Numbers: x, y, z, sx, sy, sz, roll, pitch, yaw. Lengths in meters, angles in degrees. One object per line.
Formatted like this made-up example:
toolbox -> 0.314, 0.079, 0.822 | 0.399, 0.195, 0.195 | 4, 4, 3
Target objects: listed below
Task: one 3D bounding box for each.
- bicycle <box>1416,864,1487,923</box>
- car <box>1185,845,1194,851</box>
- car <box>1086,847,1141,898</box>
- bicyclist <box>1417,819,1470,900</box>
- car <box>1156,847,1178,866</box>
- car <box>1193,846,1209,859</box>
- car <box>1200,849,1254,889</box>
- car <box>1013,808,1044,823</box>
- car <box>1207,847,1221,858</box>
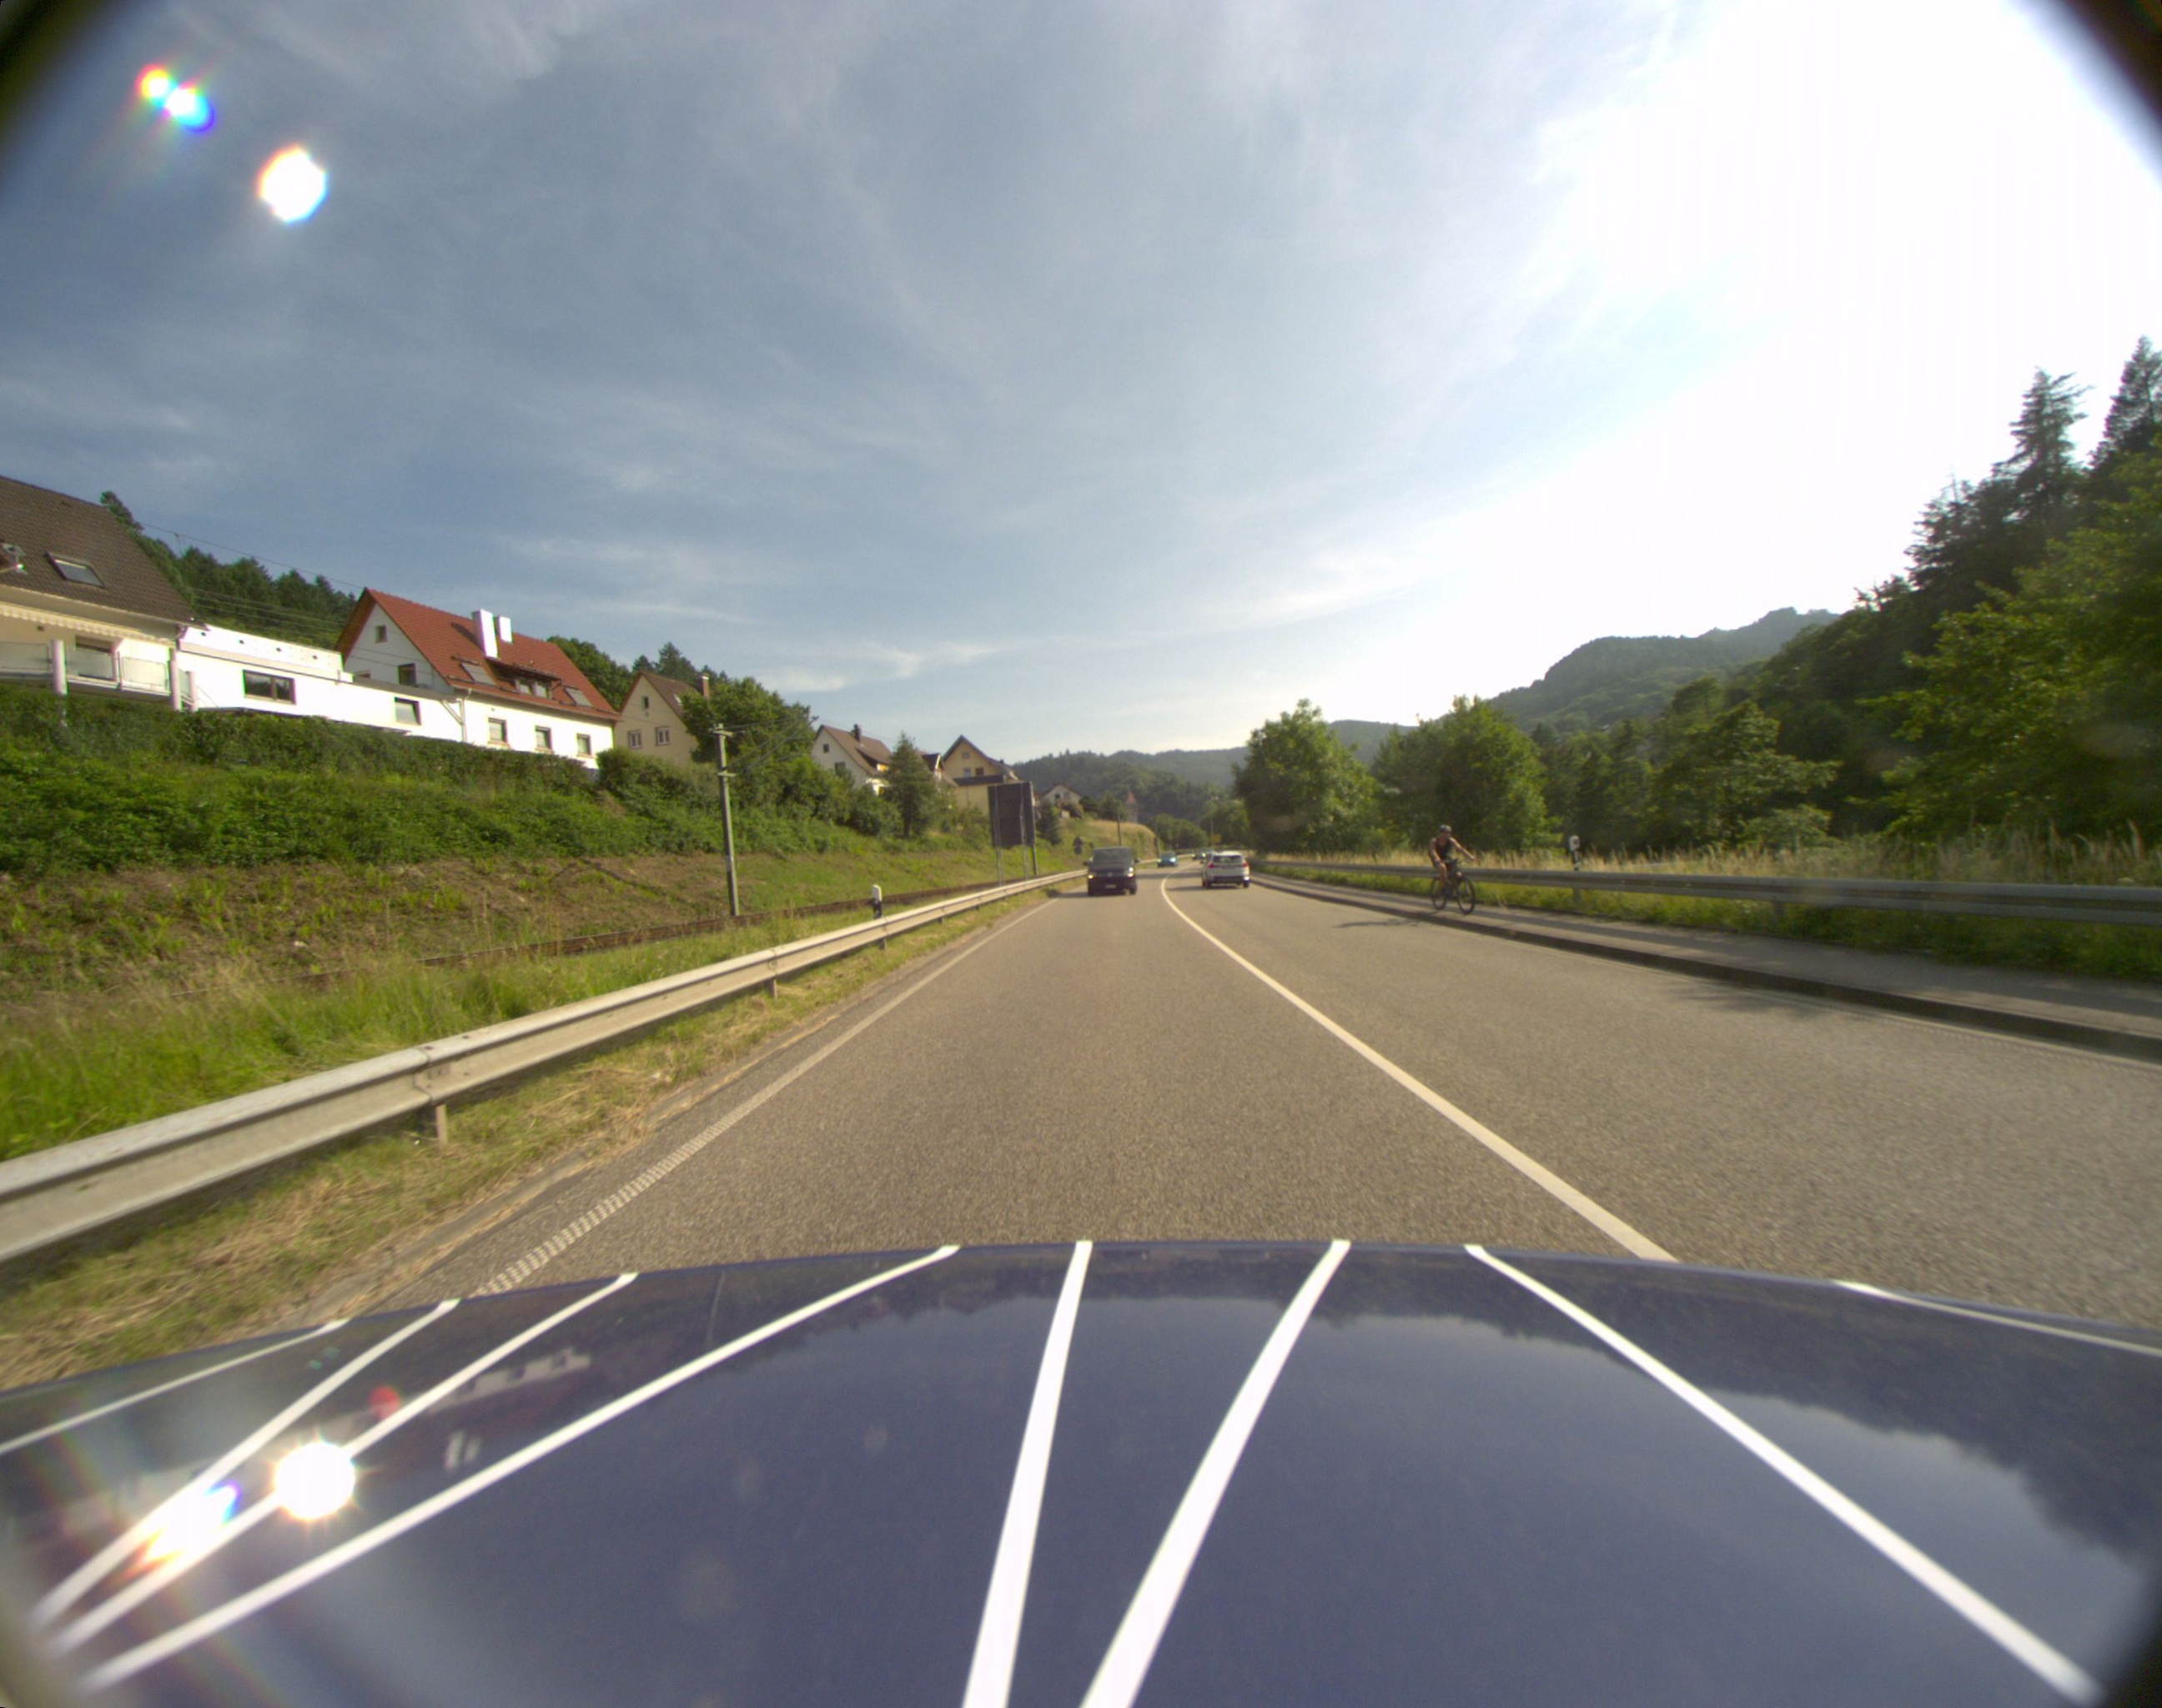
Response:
bicycle -> 7.586, 0.771, 15.667 | 0.558, 1.039, 2.231 | -7, -1, 8
car -> 30.919, -1.741, 216.354 | 1.583, 1.470, 3.997 | -2, 0, -8
car -> 1.346, 0.694, 31.104 | 2.018, 1.905, 4.312 | -2, 0, 3
bicyclist -> 7.527, 0.116, 15.808 | 0.558, 1.577, 1.036 | -7, -1, 8
car -> 8.813, 0.224, 77.397 | 1.883, 1.735, 4.182 | -2, 0, 10
car -> 16.665, -0.249, 105.580 | 1.883, 1.735, 4.182 | -3, 0, 13
car -> 6.451, 0.630, 33.889 | 1.997, 1.620, 4.002 | -2, 0, 6
car -> -7.039, -5.202, 102.477 | 3.748, 1.531, 1.753 | -7, 1, 7
car -> 21.887, -0.280, 124.943 | 1.883, 1.735, 4.183 | -3, 0, 15
